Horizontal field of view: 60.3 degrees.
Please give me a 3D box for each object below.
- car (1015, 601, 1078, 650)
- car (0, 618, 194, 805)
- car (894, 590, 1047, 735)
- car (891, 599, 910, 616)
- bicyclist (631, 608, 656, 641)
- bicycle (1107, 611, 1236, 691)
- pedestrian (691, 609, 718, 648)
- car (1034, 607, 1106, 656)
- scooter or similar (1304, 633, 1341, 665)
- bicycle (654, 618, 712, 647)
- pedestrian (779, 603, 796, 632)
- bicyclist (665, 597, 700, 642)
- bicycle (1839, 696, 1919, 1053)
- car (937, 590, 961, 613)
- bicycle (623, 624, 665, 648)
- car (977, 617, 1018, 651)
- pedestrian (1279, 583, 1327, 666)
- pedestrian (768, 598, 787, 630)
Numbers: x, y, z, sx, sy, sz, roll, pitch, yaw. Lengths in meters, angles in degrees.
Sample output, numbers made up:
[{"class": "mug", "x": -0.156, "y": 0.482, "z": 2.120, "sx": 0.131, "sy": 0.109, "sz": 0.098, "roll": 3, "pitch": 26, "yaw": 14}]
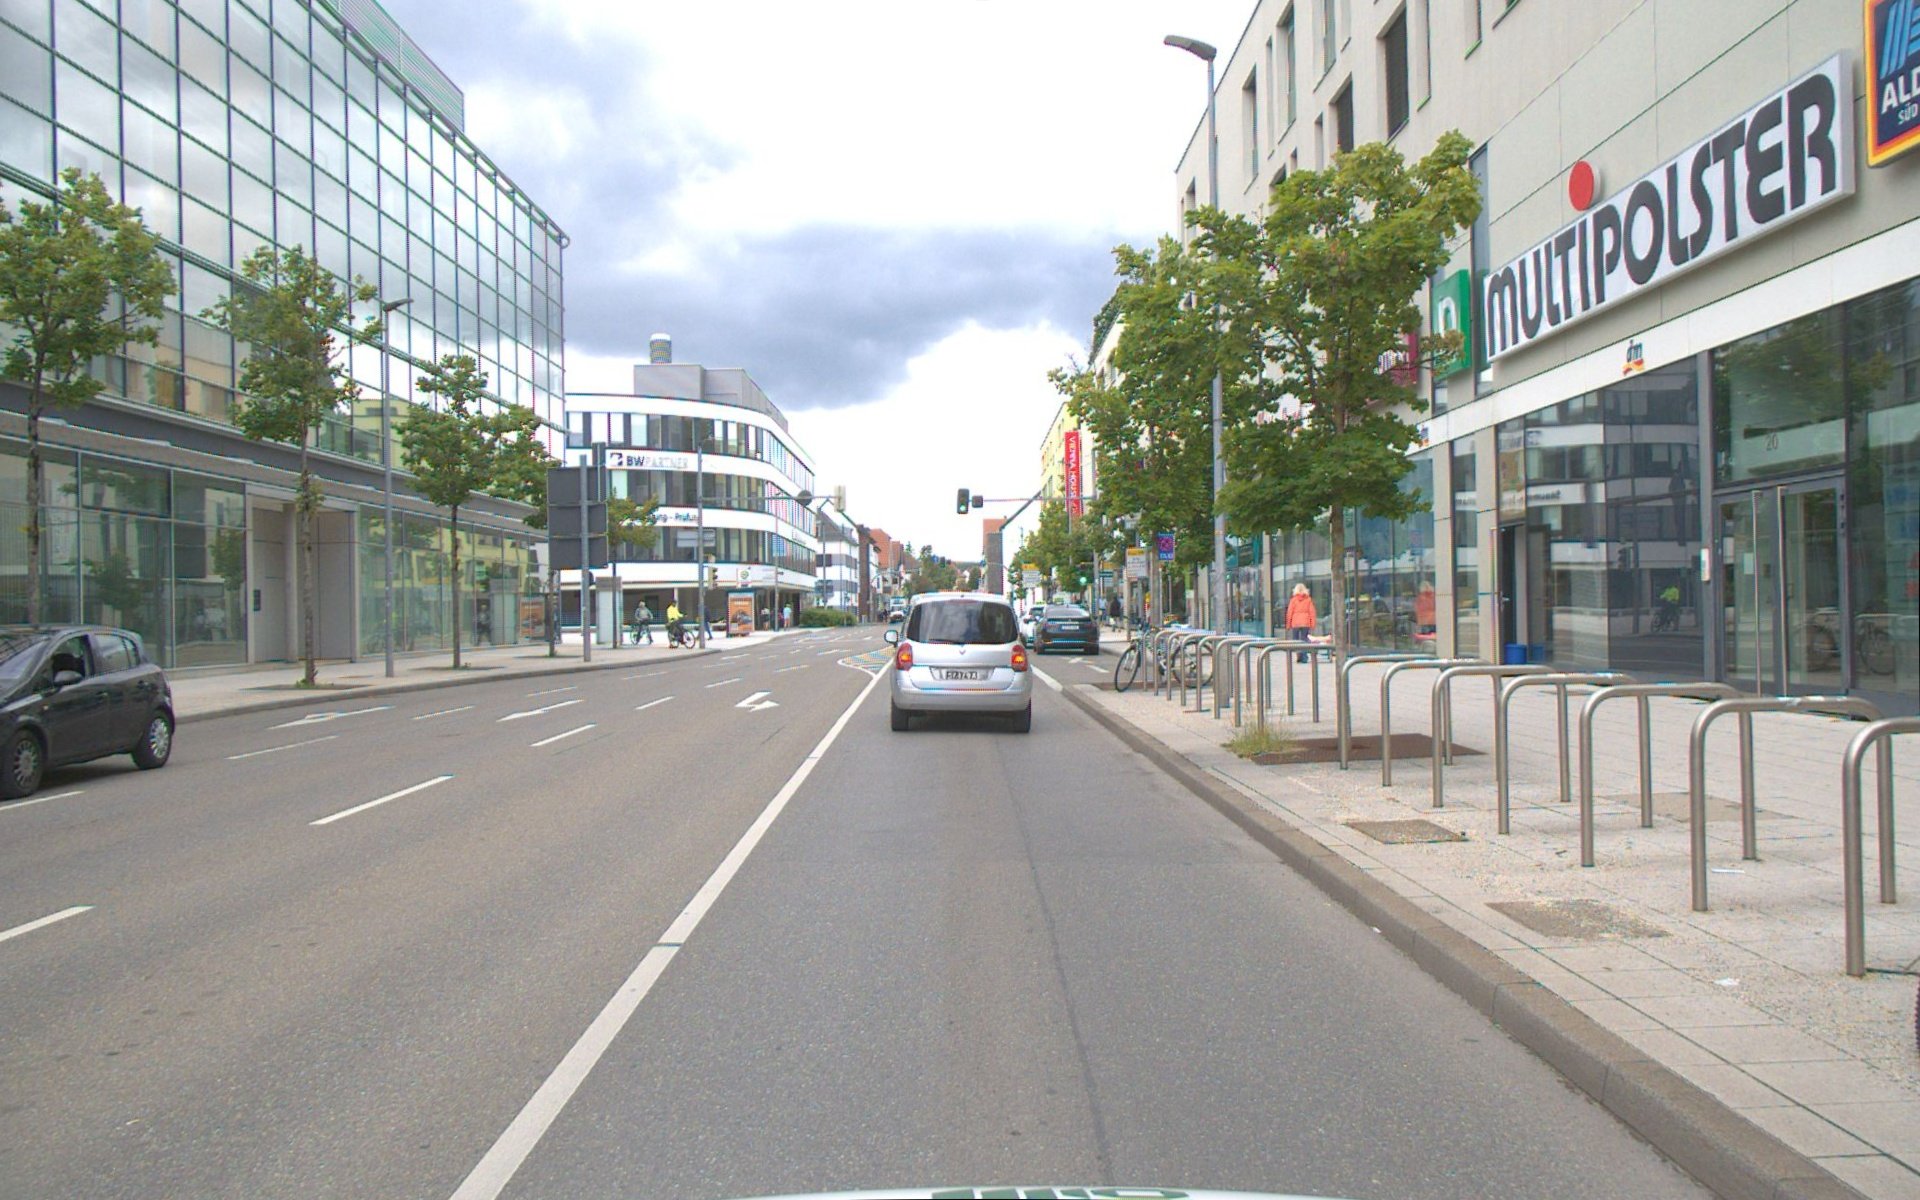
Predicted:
[{"class": "car", "x": 2.871, "y": 0.836, "z": 55.627, "sx": 1.839, "sy": 1.535, "sz": 4.000, "roll": 1, "pitch": 0, "yaw": 0}, {"class": "car", "x": -8.789, "y": 0.970, "z": 15.194, "sx": 1.626, "sy": 1.506, "sz": 3.999, "roll": -2, "pitch": 0, "yaw": -1}, {"class": "car", "x": 0.047, "y": 0.691, "z": 20.187, "sx": 1.636, "sy": 1.581, "sz": 3.640, "roll": 1, "pitch": 0, "yaw": -3}, {"class": "car", "x": -7.509, "y": 0.890, "z": 208.935, "sx": 2.126, "sy": 2.049, "sz": 4.258, "roll": -2, "pitch": 0, "yaw": 0}, {"class": "bicyclist", "x": -13.059, "y": 1.021, "z": 68.341, "sx": 0.819, "sy": 1.350, "sz": 0.644, "roll": -1, "pitch": 0, "yaw": -34}, {"class": "bicycle", "x": 3.154, "y": 0.755, "z": 24.816, "sx": 1.788, "sy": 1.093, "sz": 0.752, "roll": -2, "pitch": 0, "yaw": -2}, {"class": "pedestrian", "x": -12.622, "y": 1.392, "z": 81.725, "sx": 1.222, "sy": 1.865, "sz": 0.962, "roll": -2, "pitch": 0, "yaw": -6}, {"class": "car", "x": 3.219, "y": 0.906, "z": 49.096, "sx": 1.839, "sy": 1.358, "sz": 4.000, "roll": 1, "pitch": 0, "yaw": 0}, {"class": "scooter or similar", "x": 7.109, "y": 0.962, "z": 32.447, "sx": 0.539, "sy": 0.555, "sz": 0.642, "roll": -4, "pitch": 0, "yaw": -1}, {"class": "bicycle", "x": -10.657, "y": 1.240, "z": 63.536, "sx": 0.997, "sy": 1.036, "sz": 3.092, "roll": 1, "pitch": -1, "yaw": -34}, {"class": "pedestrian", "x": -11.223, "y": 1.130, "z": 107.513, "sx": 0.941, "sy": 1.865, "sz": 1.250, "roll": -2, "pitch": 0, "yaw": 0}, {"class": "bicyclist", "x": -10.654, "y": 0.758, "z": 63.554, "sx": 0.997, "sy": 1.689, "sz": 0.921, "roll": 1, "pitch": -1, "yaw": -35}, {"class": "bicycle", "x": 3.555, "y": 0.800, "z": 4.860, "sx": 1.528, "sy": 1.010, "sz": 0.752, "roll": -1, "pitch": 0, "yaw": 2}, {"class": "car", "x": -1.049, "y": 0.113, "z": 155.030, "sx": 2.126, "sy": 2.049, "sz": 4.258, "roll": -2, "pitch": 0, "yaw": 0}, {"class": "bicycle", "x": -13.050, "y": 1.480, "z": 68.335, "sx": 0.819, "sy": 0.914, "sz": 2.496, "roll": -1, "pitch": 0, "yaw": -33}, {"class": "car", "x": 1.842, "y": 1.688, "z": 82.280, "sx": 1.637, "sy": 1.581, "sz": 3.638, "roll": 1, "pitch": 0, "yaw": -5}, {"class": "pedestrian", "x": 6.890, "y": 0.479, "z": 33.258, "sx": 0.696, "sy": 1.601, "sz": 0.812, "roll": -4, "pitch": 0, "yaw": -1}, {"class": "pedestrian", "x": -11.170, "y": 0.849, "z": 101.344, "sx": 0.941, "sy": 1.865, "sz": 1.250, "roll": -2, "pitch": 0, "yaw": 0}]
